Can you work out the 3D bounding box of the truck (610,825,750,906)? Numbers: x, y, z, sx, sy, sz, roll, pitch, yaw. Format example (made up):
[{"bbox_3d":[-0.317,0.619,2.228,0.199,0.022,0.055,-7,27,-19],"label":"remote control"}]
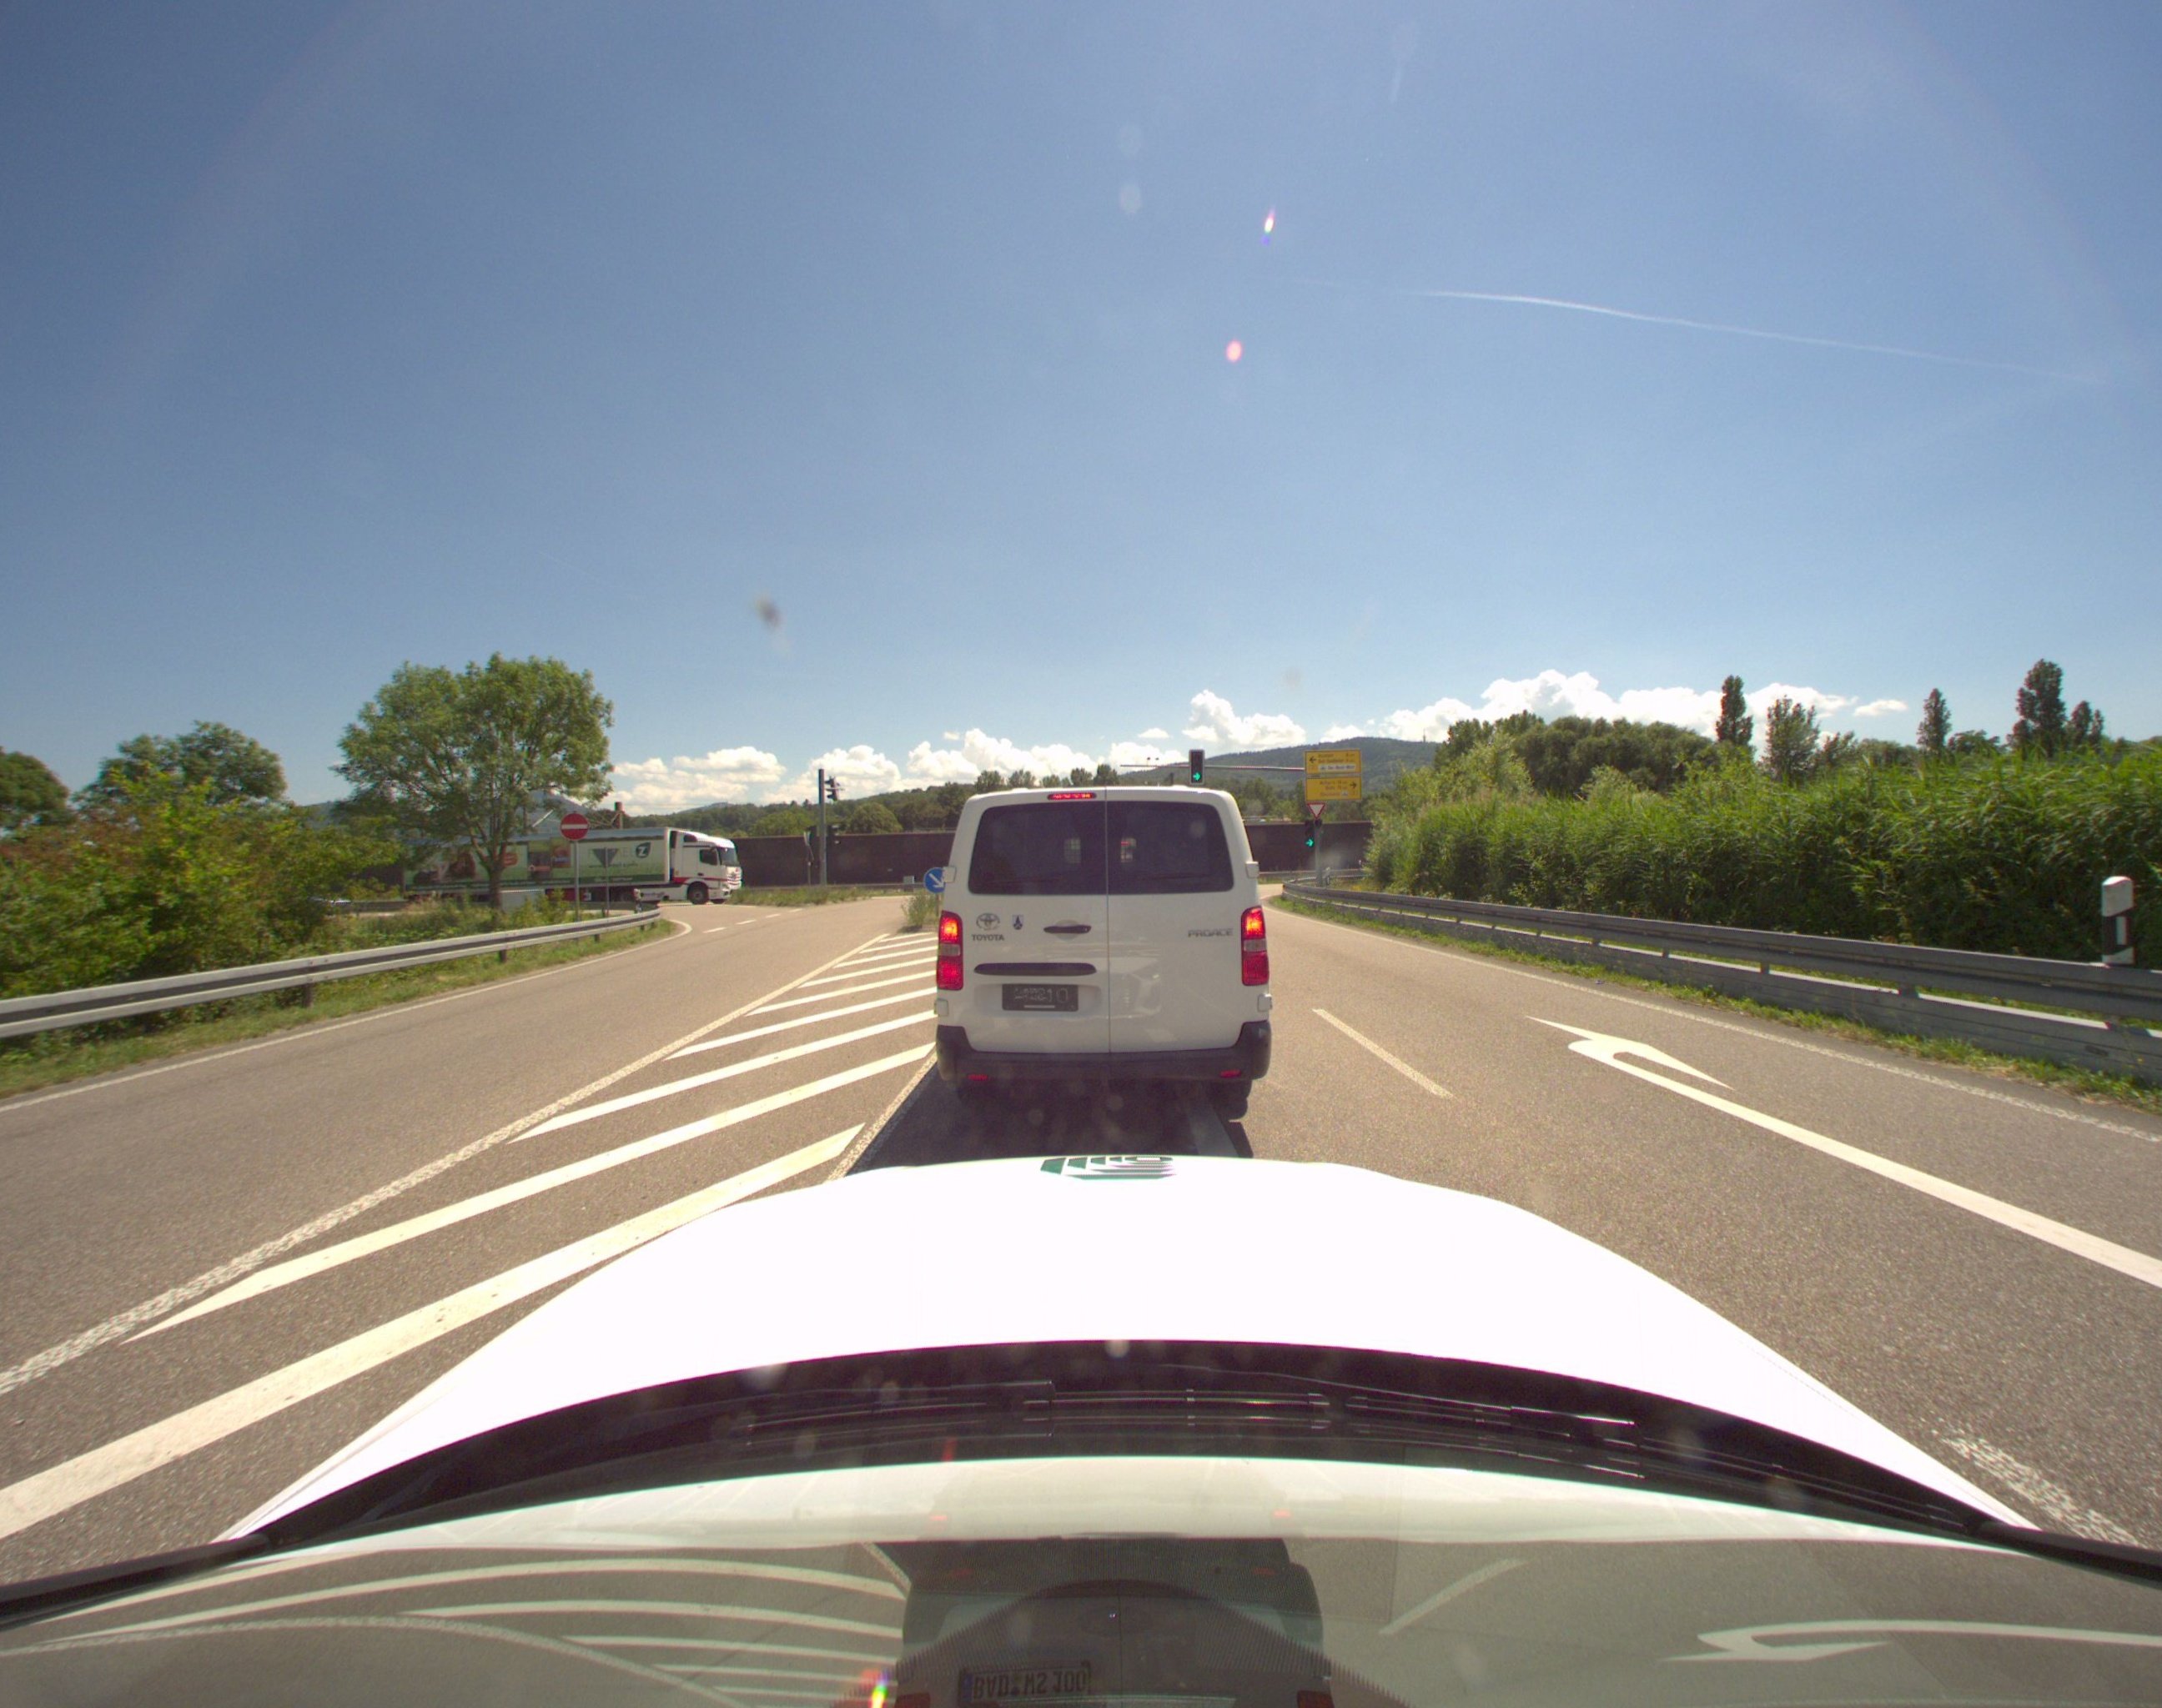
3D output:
[{"bbox_3d":[-20.955,0.599,42.801,5.746,3.954,3.062,-1,-1,0],"label":"truck"}]

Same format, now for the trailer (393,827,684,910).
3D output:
[{"bbox_3d":[-28.213,0.737,42.746,13.098,3.954,3.061,-1,-1,0],"label":"trailer"}]

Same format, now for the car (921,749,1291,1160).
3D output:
[{"bbox_3d":[0.182,0.517,6.064,1.808,2.018,4.001,-1,-1,2],"label":"car"}]

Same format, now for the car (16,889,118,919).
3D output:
[{"bbox_3d":[-53.894,2.644,43.319,3.462,1.464,1.554,-1,-1,0],"label":"car"}]
